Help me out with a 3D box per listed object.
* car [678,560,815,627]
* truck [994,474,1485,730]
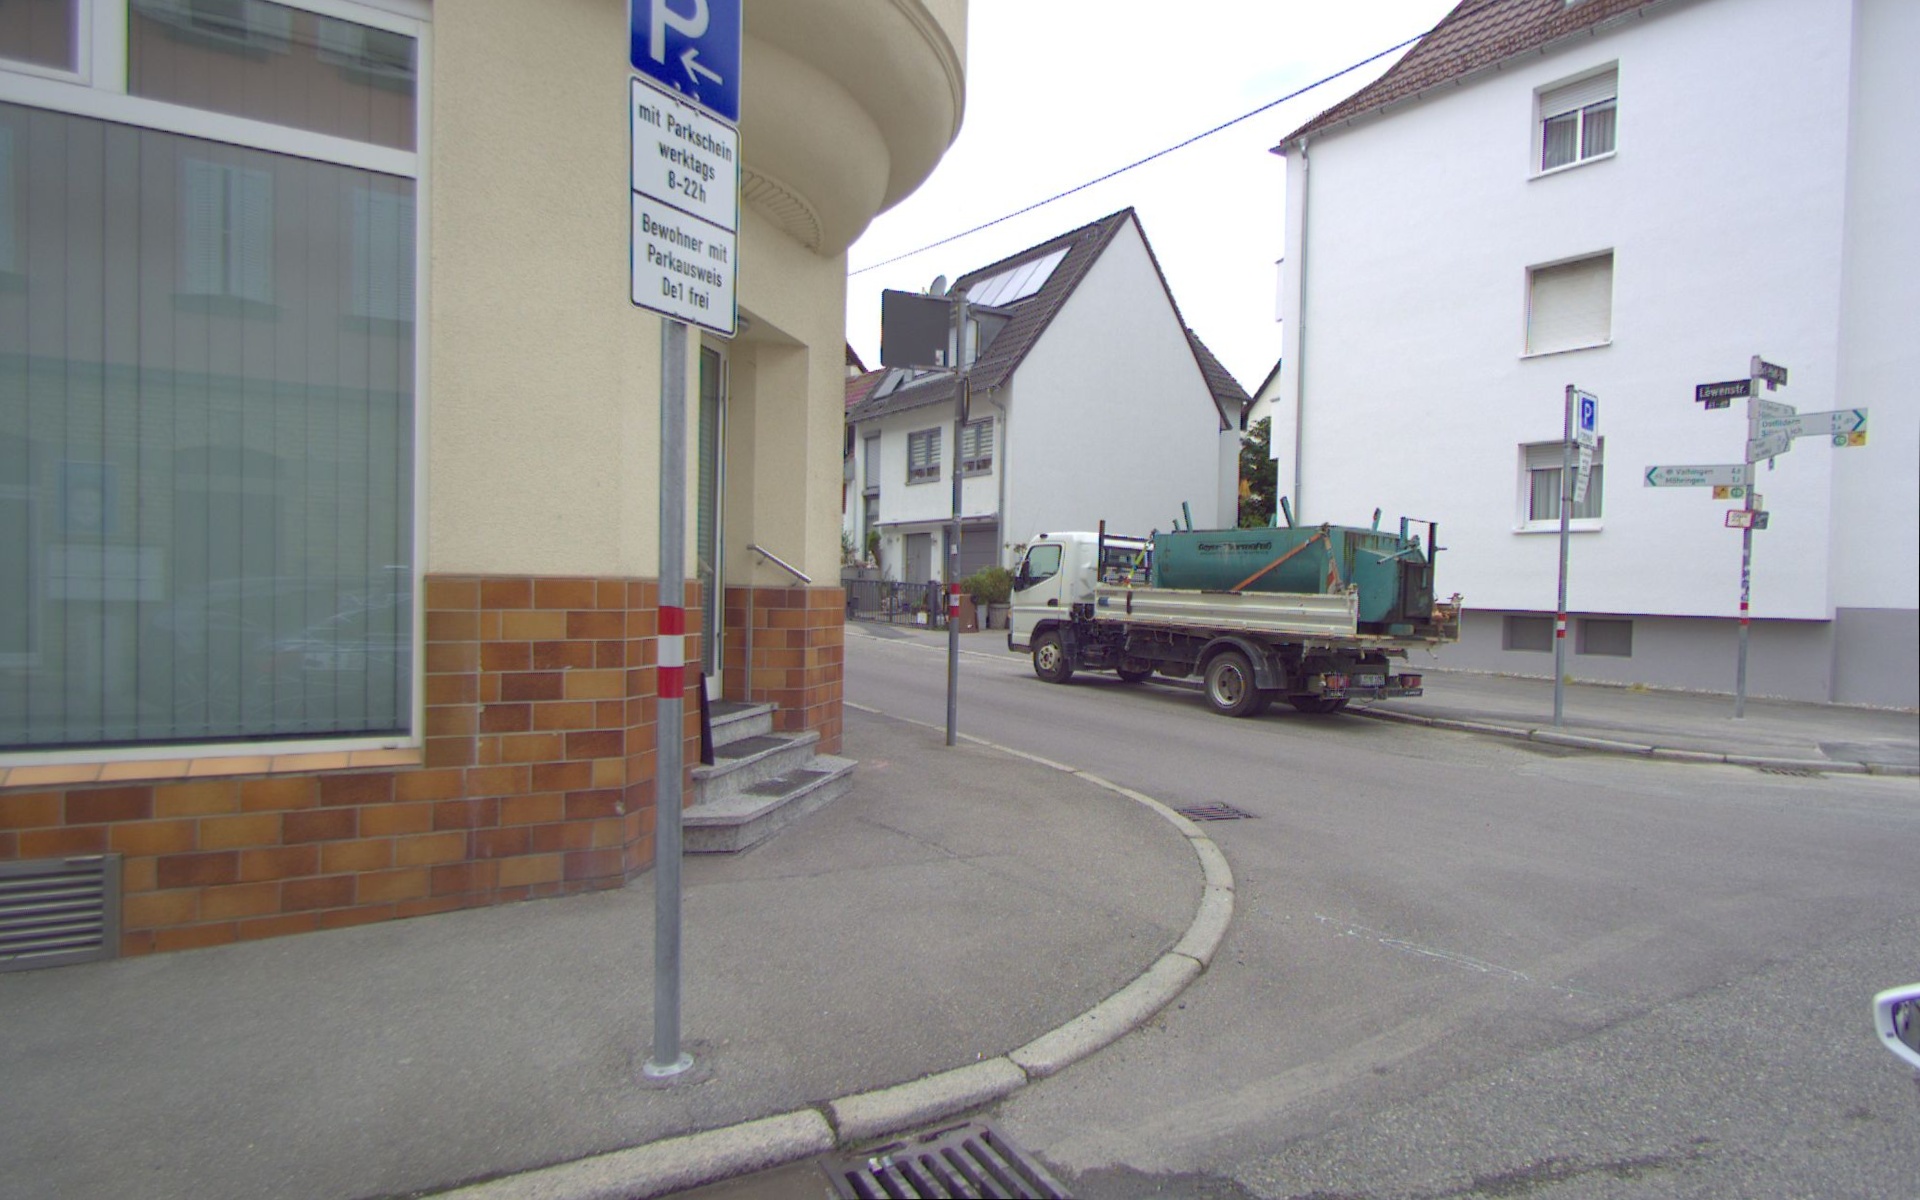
[{"bbox_3d":[-5.508,-0.198,25.619,1.840,1.483,3.902,2,1,-38],"label":"car"},{"bbox_3d":[3.257,-0.020,13.376,2.295,2.586,6.226,2,0,-35],"label":"truck"}]
